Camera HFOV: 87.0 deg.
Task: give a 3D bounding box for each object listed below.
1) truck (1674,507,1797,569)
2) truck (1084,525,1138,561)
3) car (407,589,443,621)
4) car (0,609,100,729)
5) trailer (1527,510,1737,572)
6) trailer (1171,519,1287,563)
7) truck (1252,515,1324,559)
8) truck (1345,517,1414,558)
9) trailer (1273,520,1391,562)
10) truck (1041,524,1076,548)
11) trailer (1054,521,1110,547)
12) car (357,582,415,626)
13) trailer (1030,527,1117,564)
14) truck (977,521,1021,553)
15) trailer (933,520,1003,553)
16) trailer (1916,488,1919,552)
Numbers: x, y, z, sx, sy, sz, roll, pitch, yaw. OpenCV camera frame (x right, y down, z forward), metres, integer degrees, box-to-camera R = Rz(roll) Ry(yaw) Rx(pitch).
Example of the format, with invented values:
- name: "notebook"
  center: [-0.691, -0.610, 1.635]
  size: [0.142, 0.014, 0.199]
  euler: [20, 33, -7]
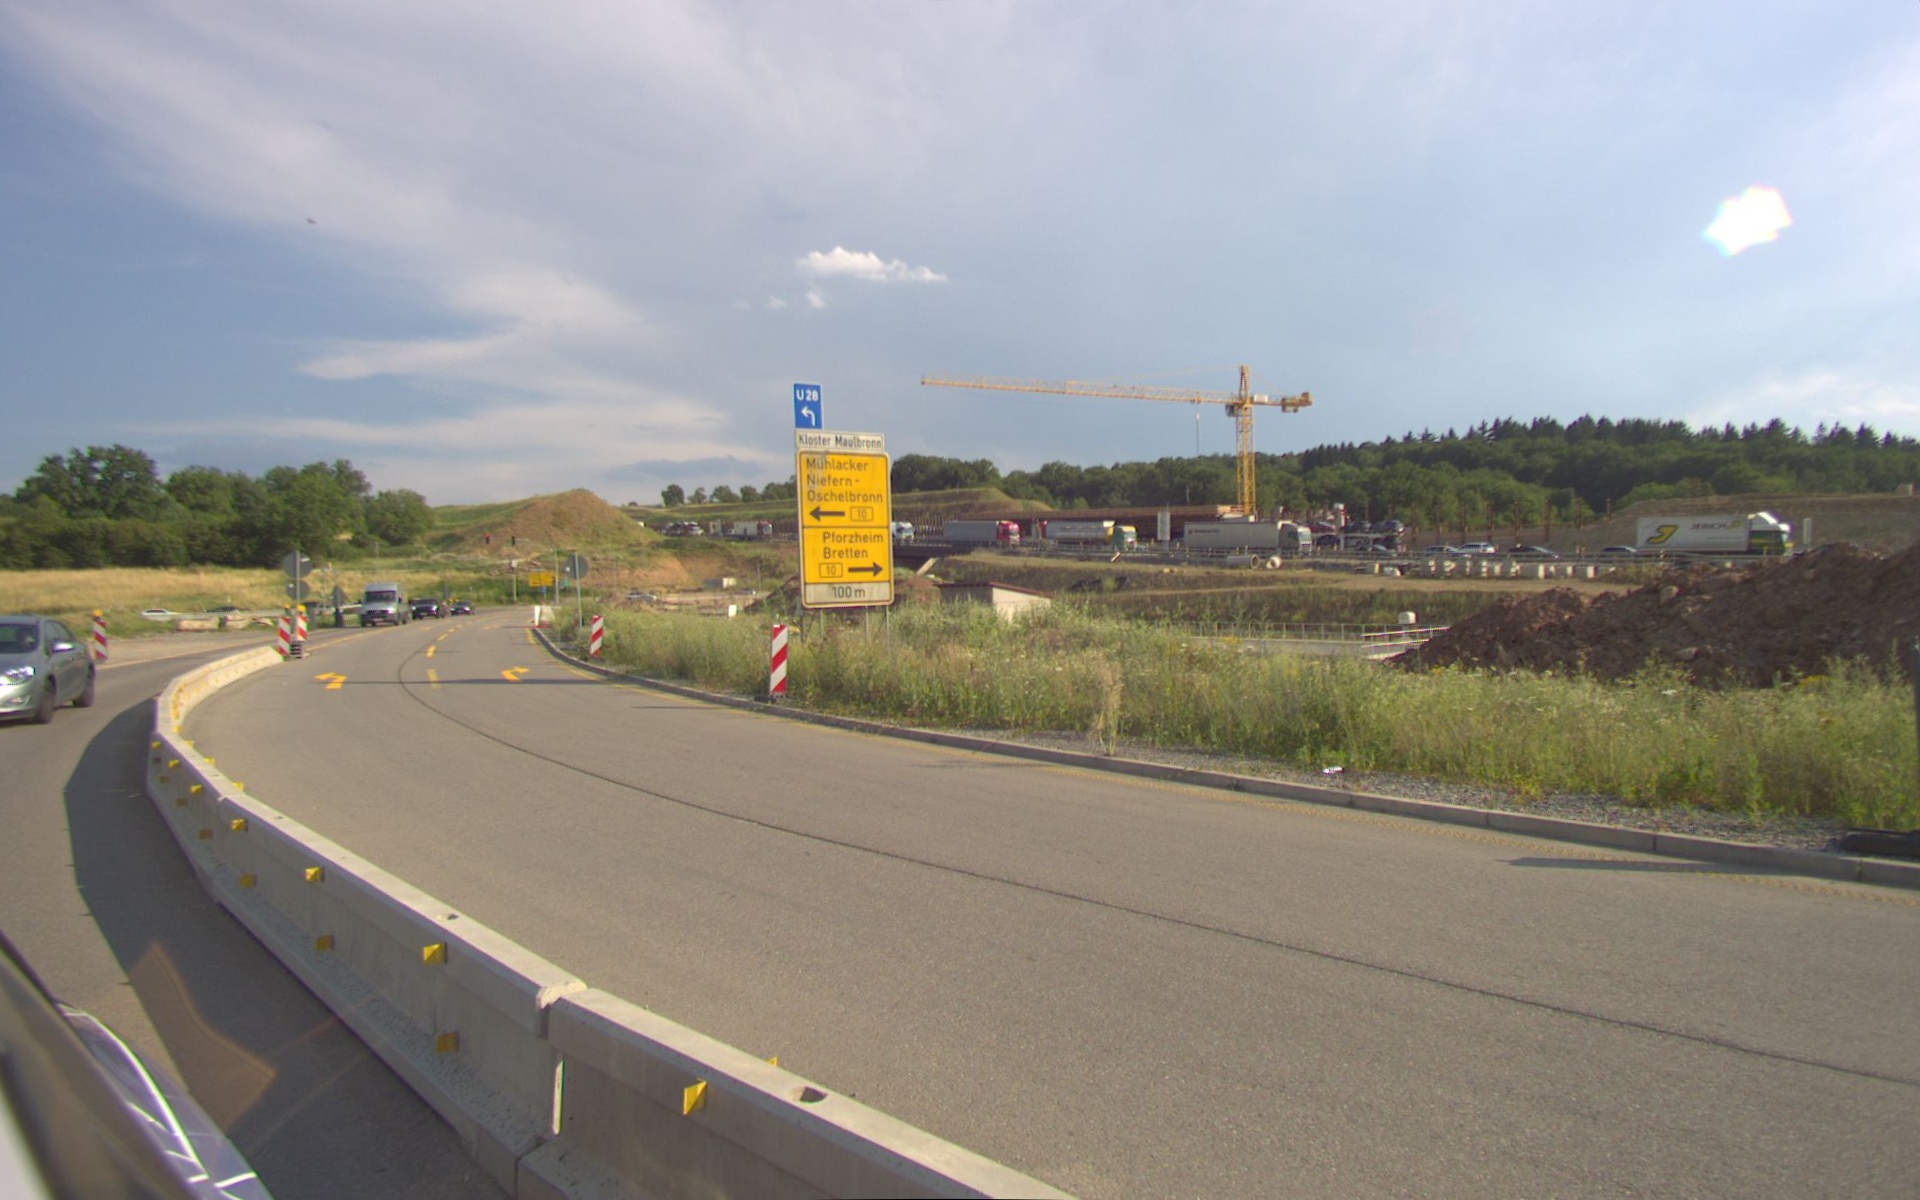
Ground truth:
- name: "truck"
  center: [59.623, -4.676, 77.974]
  size: [3.062, 4.346, 6.913]
  euler: [-1, 0, -36]
- name: "truck"
  center: [19.916, -7.452, 133.508]
  size: [3.062, 4.346, 6.913]
  euler: [-1, 0, -36]
- name: "car"
  center: [-42.647, 0.390, 80.762]
  size: [1.844, 2.421, 4.012]
  euler: [-1, 0, -18]
- name: "car"
  center: [-13.652, 0.910, 14.285]
  size: [1.719, 1.495, 4.264]
  euler: [-1, 0, -33]
- name: "trailer"
  center: [55.257, -4.686, 83.947]
  size: [3.062, 4.346, 14.286]
  euler: [-1, 0, -36]
- name: "trailer"
  center: [30.831, -6.706, 117.133]
  size: [3.062, 4.346, 14.286]
  euler: [-1, 0, -36]
- name: "truck"
  center: [35.703, -6.791, 110.424]
  size: [3.062, 4.346, 6.913]
  euler: [-1, 0, -36]
- name: "truck"
  center: [48.930, -7.181, 118.177]
  size: [3.062, 4.346, 6.913]
  euler: [-1, 0, -36]
- name: "trailer"
  center: [45.080, -7.090, 123.378]
  size: [3.062, 4.346, 14.286]
  euler: [-1, 0, -36]
- name: "truck"
  center: [16.466, -10.650, 169.454]
  size: [1.945, 3.540, 6.610]
  euler: [-1, 0, -36]
- name: "trailer"
  center: [19.815, -10.638, 164.786]
  size: [1.940, 3.540, 11.202]
  euler: [-1, 0, -36]
- name: "car"
  center: [-34.627, 0.226, 61.179]
  size: [1.885, 2.520, 5.816]
  euler: [-1, 0, -18]
- name: "trailer"
  center: [15.523, -7.424, 139.711]
  size: [3.062, 4.346, 14.286]
  euler: [-1, 0, -36]
- name: "truck"
  center: [5.860, -9.523, 153.773]
  size: [3.062, 4.346, 6.913]
  euler: [-1, 0, -36]
- name: "trailer"
  center: [1.121, -9.943, 160.279]
  size: [3.062, 4.346, 14.286]
  euler: [-1, 0, -36]
- name: "trailer"
  center: [70.248, -5.481, 63.719]
  size: [3.062, 4.346, 14.286]
  euler: [-1, 0, -36]
